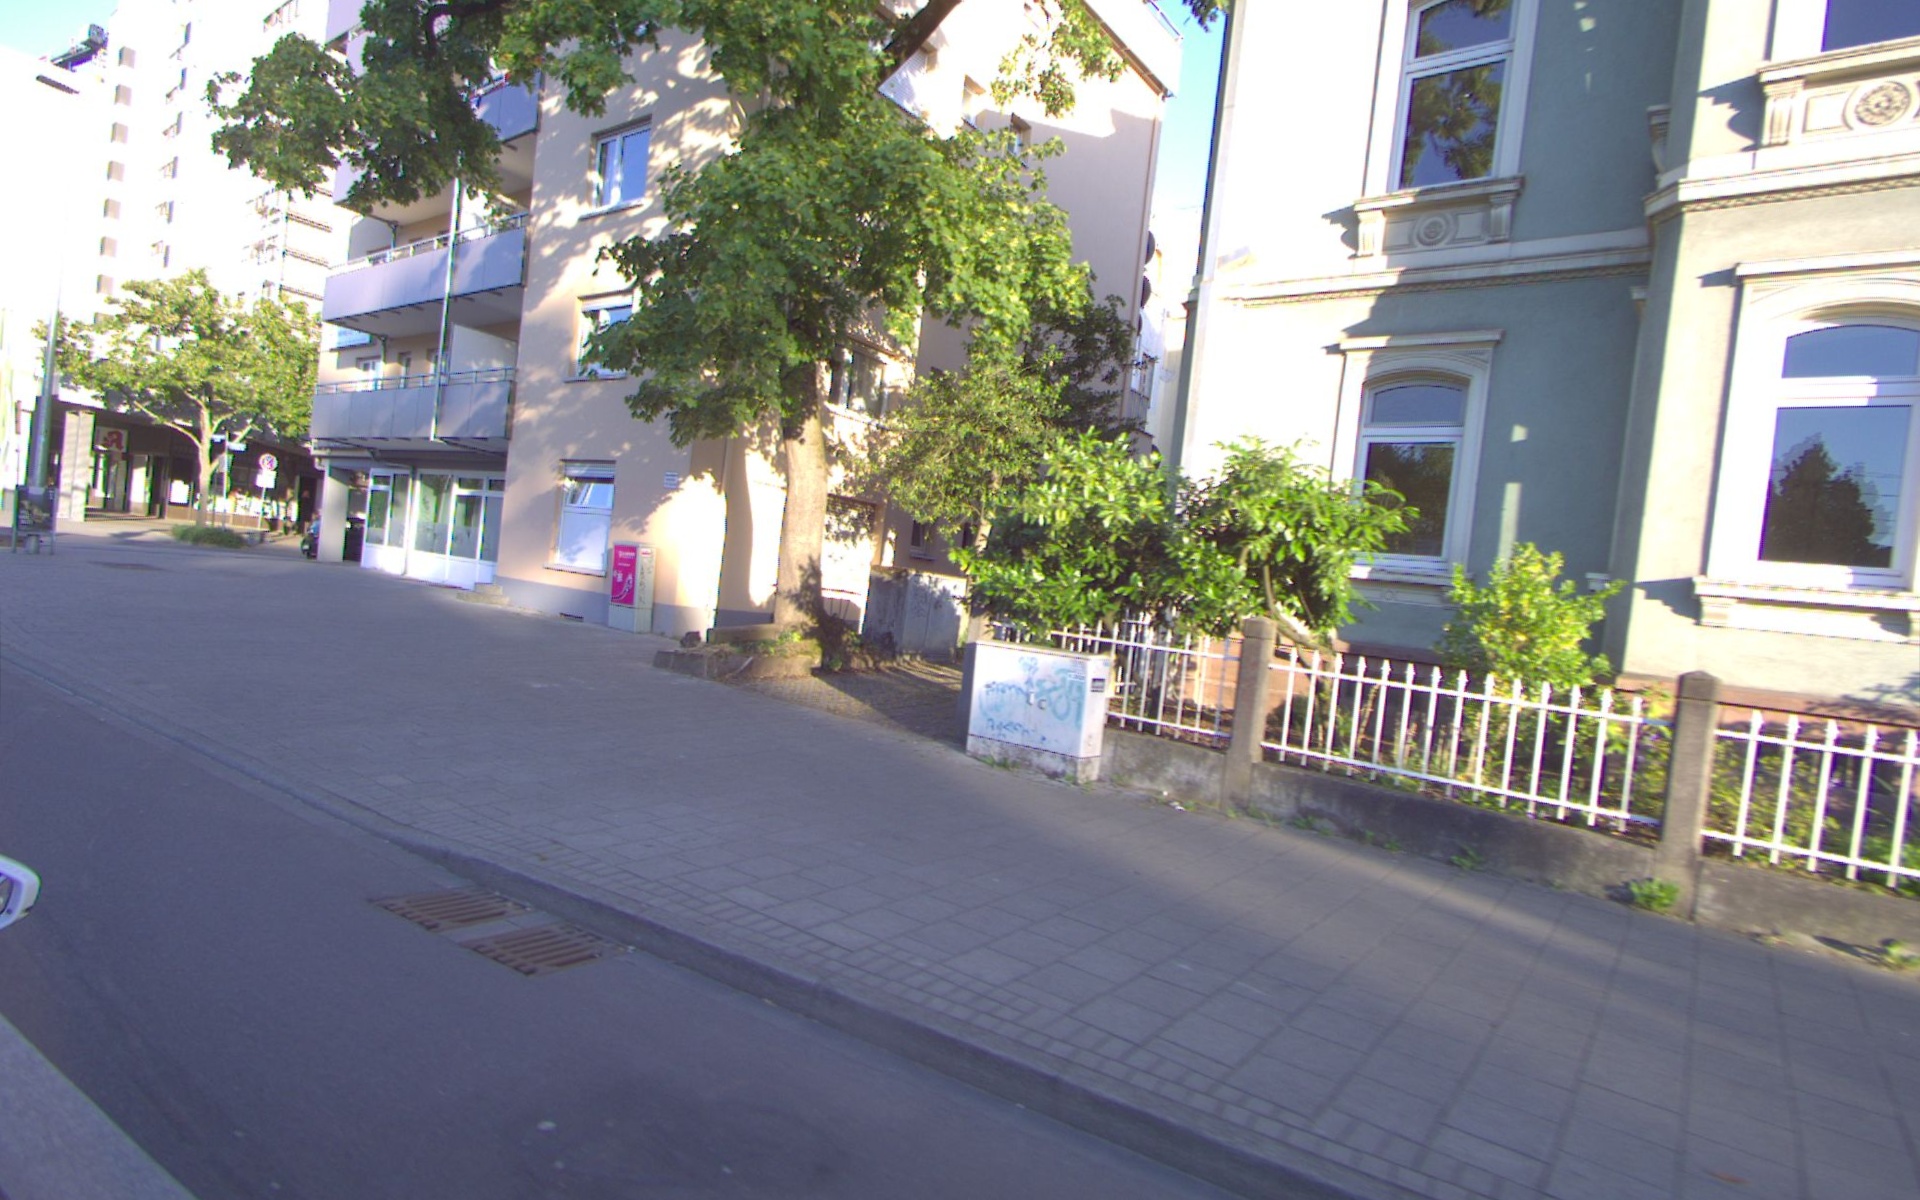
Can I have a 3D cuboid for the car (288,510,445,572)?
[{"bbox_3d":[-19.262,-1.866,32.761,1.682,1.605,4.032,4,0,40],"label":"car"}]
